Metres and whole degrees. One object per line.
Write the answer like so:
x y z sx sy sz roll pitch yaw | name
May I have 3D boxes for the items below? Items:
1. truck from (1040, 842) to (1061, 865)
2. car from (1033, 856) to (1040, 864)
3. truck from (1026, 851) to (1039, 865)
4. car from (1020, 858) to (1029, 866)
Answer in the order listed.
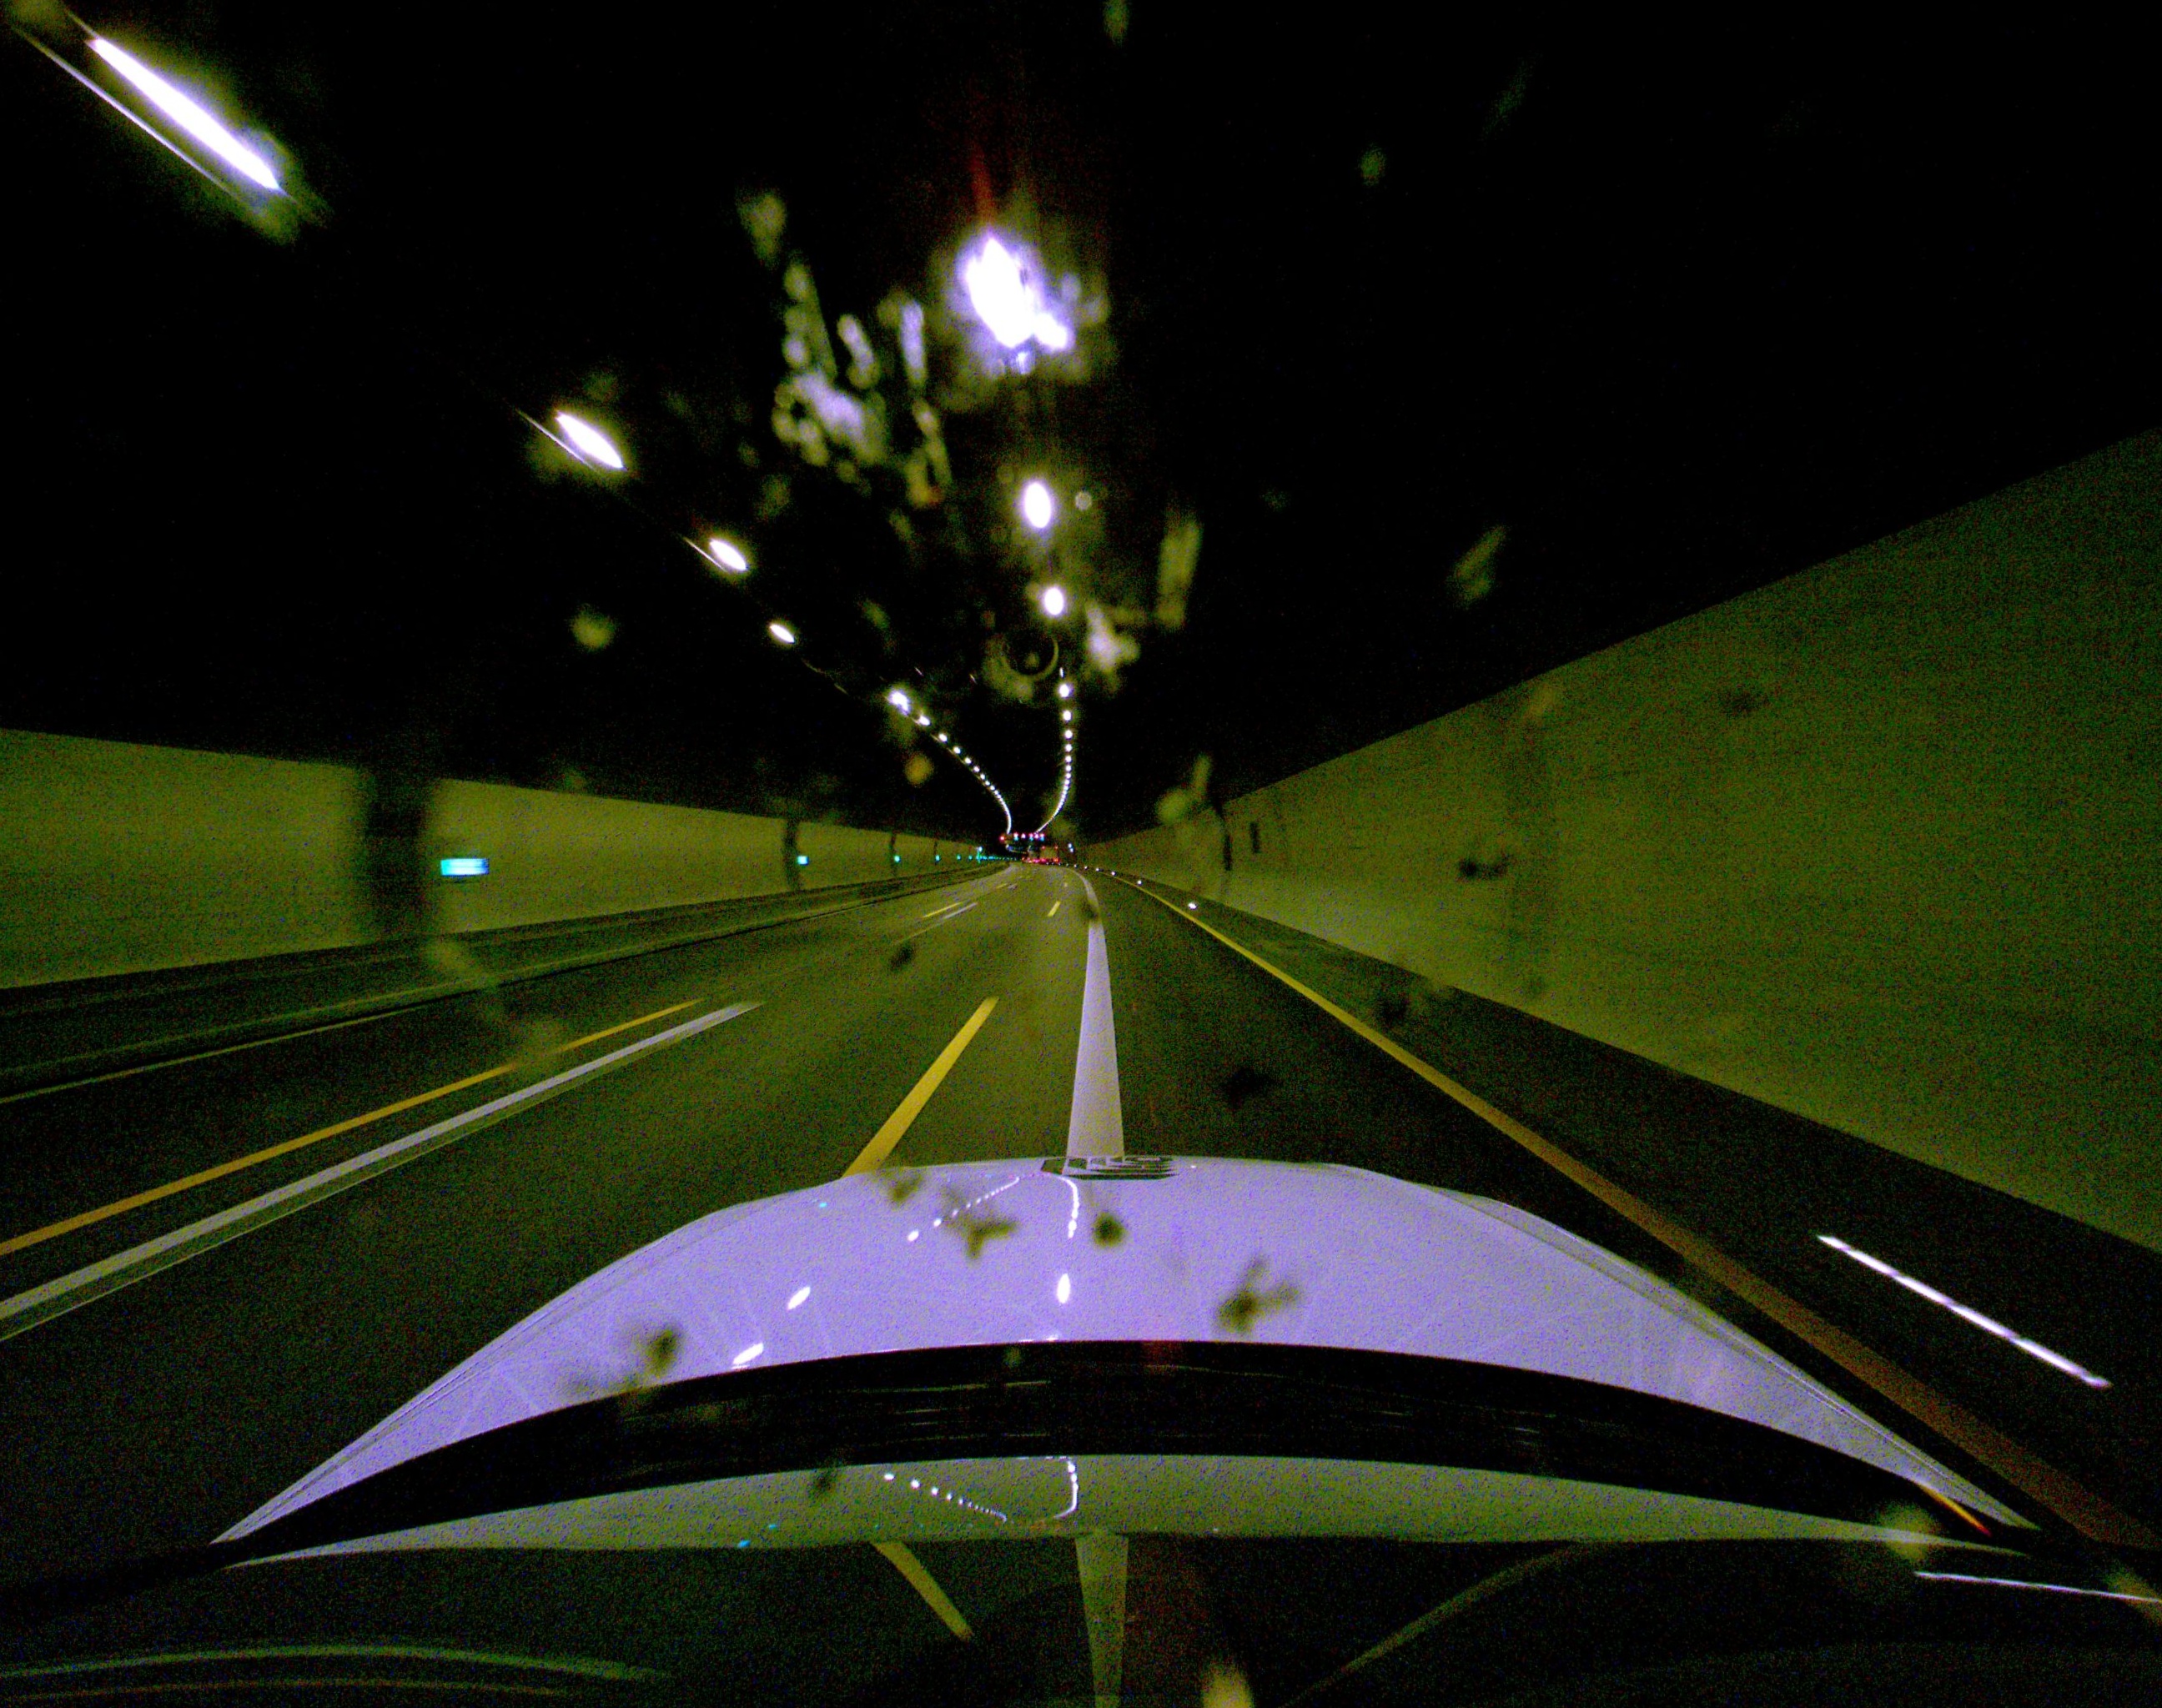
-6.083 -0.097 159.547 3.469 4.316 10.930 1 0 -6 | truck
-11.928 1.546 218.543 1.989 2.013 3.994 1 0 -4 | car
-15.414 1.258 258.327 3.469 4.316 10.930 0 0 -5 | truck
-13.232 1.859 189.590 1.991 1.582 3.991 1 0 -6 | car
